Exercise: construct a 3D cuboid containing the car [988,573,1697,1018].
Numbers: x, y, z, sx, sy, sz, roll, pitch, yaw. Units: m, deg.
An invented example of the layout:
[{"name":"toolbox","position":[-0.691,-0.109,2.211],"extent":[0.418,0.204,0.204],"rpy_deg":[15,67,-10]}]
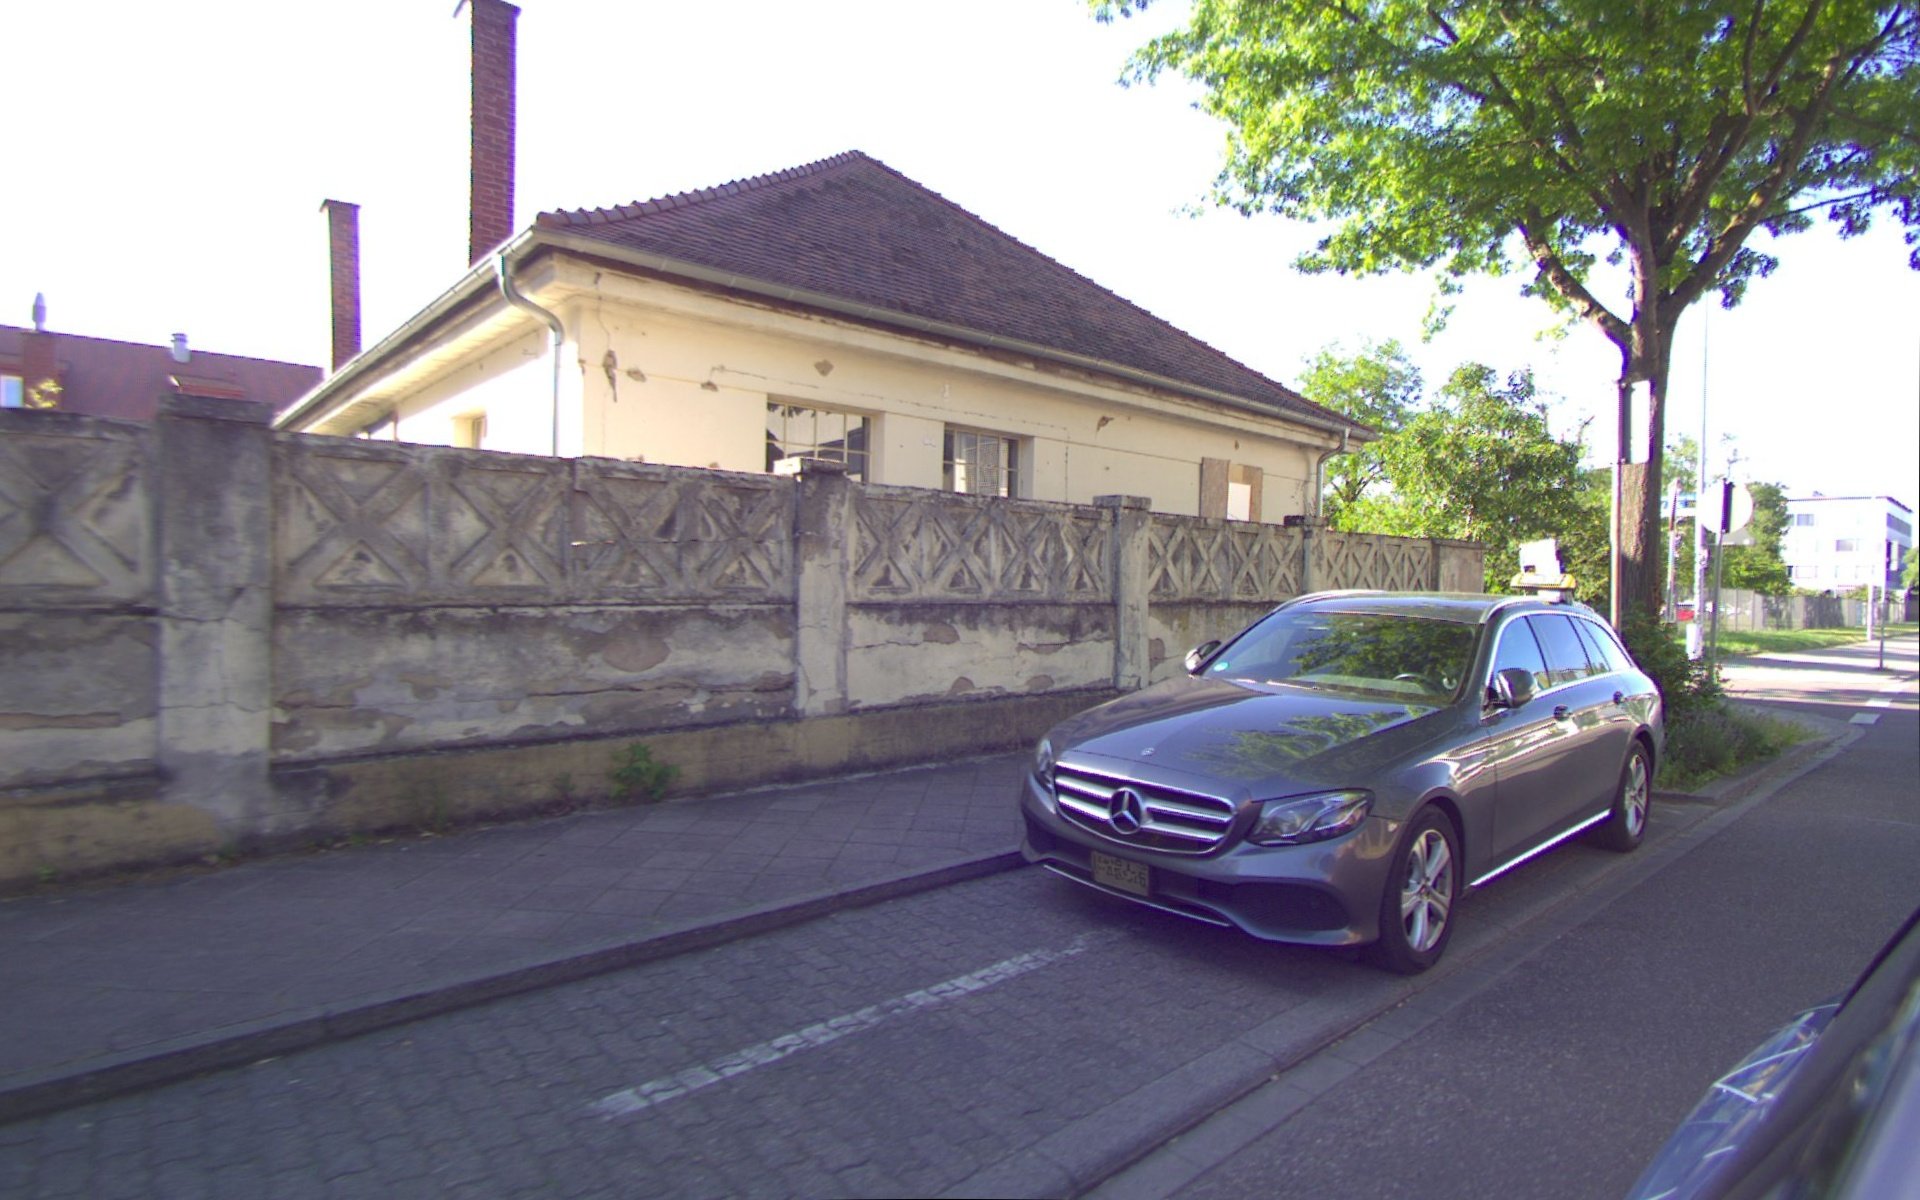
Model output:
[{"name":"car","position":[2.443,0.634,5.596],"extent":[4.706,1.487,1.706],"rpy_deg":[0,1,-42]}]
